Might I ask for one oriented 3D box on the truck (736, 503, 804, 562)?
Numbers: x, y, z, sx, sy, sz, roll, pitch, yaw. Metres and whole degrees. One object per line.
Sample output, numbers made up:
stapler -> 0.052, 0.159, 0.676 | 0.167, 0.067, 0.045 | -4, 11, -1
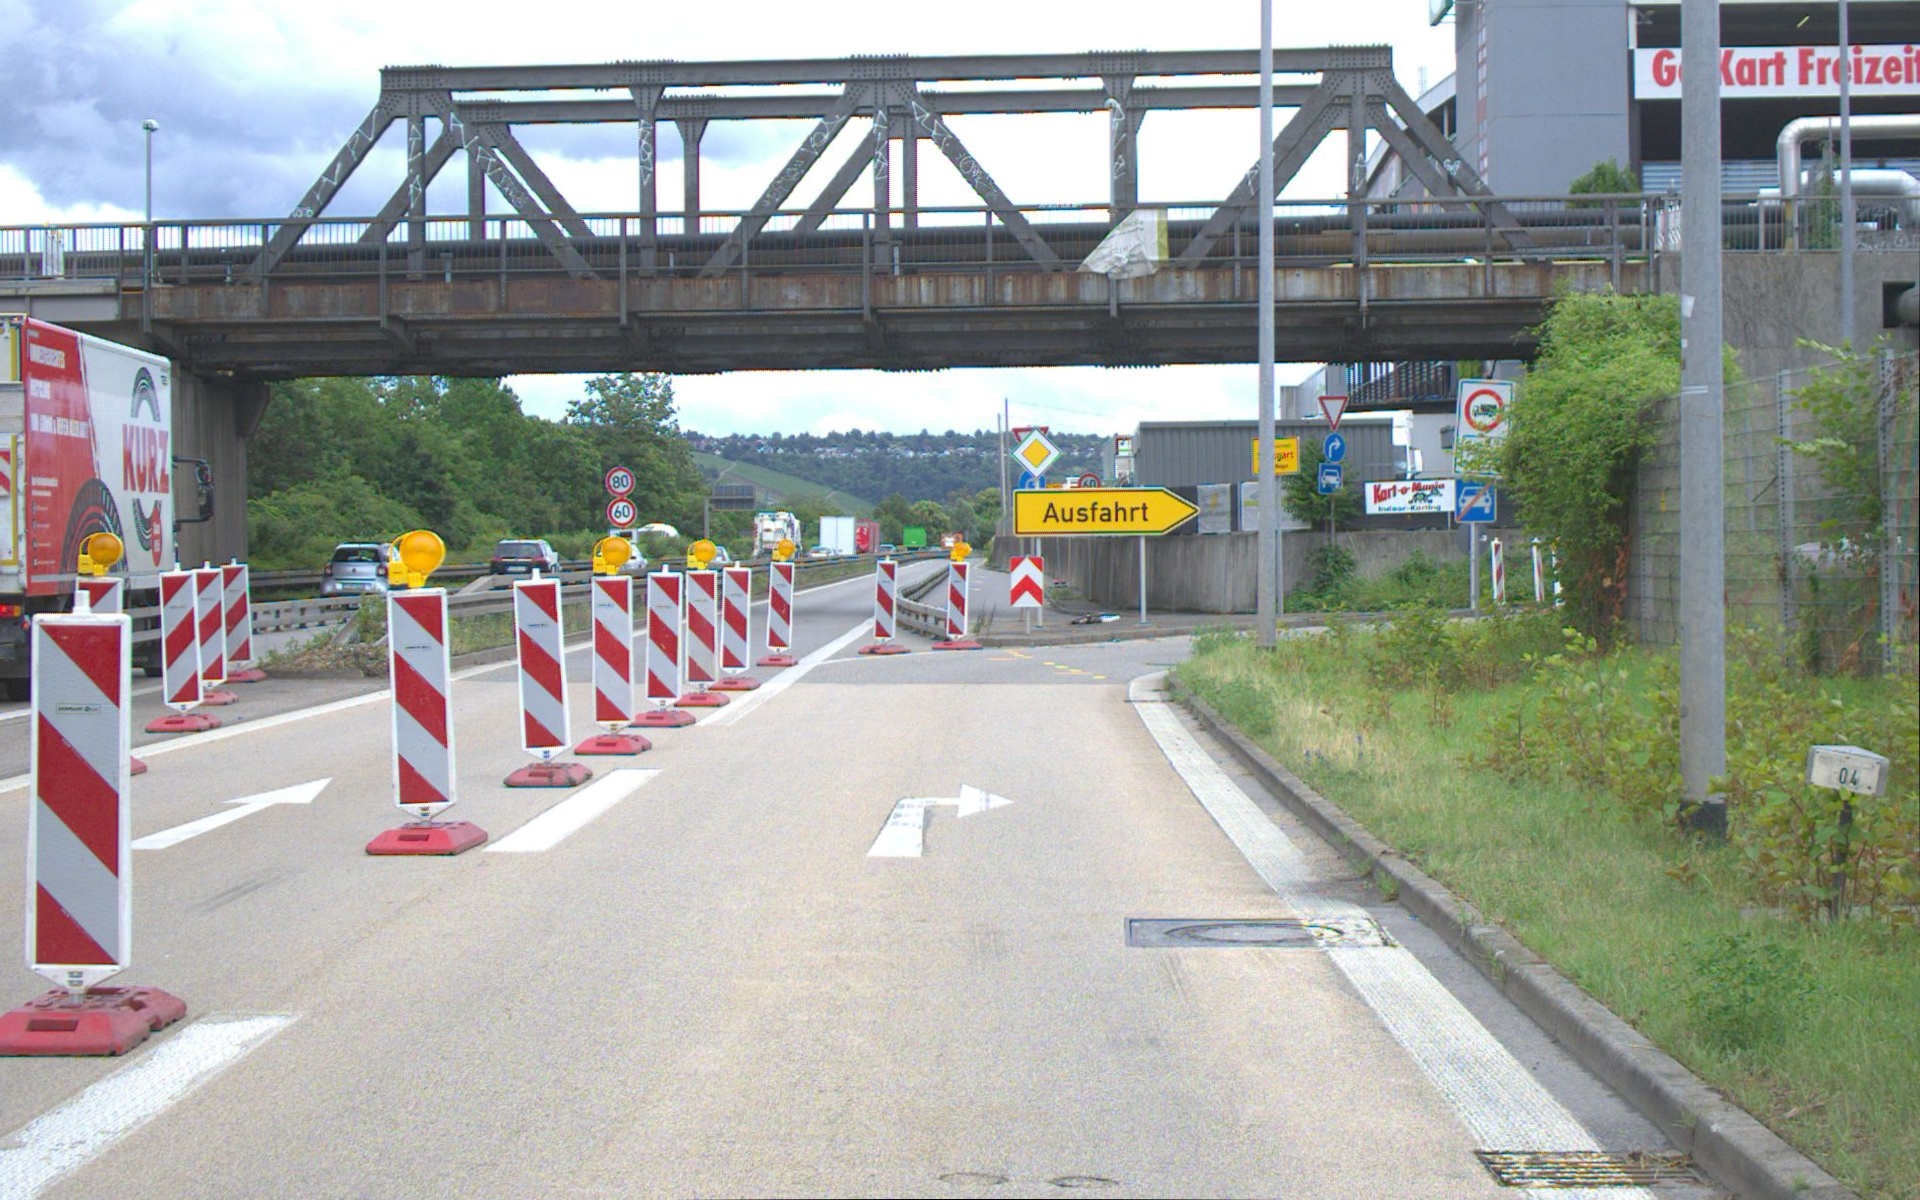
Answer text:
truck -> -11.924, -4.241, 216.759 | 3.720, 3.633, 7.727 | 0, 1, 1

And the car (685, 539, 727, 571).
car -> -12.737, -2.247, 172.650 | 1.779, 1.590, 3.749 | 0, 1, 1

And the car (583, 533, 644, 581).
car -> -13.279, -1.645, 131.759 | 1.993, 1.809, 4.000 | 0, 1, -1

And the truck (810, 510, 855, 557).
truck -> -8.750, -4.562, 236.966 | 2.681, 3.129, 6.132 | 1, 1, 1

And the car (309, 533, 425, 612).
car -> -13.683, -0.639, 79.516 | 1.993, 1.753, 4.000 | -1, 0, 0

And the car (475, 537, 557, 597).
car -> -13.517, -0.995, 104.931 | 1.993, 1.753, 4.000 | -1, 0, -1

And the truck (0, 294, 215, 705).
truck -> -9.973, -0.965, 35.324 | 2.953, 3.617, 10.156 | 0, 1, -3
